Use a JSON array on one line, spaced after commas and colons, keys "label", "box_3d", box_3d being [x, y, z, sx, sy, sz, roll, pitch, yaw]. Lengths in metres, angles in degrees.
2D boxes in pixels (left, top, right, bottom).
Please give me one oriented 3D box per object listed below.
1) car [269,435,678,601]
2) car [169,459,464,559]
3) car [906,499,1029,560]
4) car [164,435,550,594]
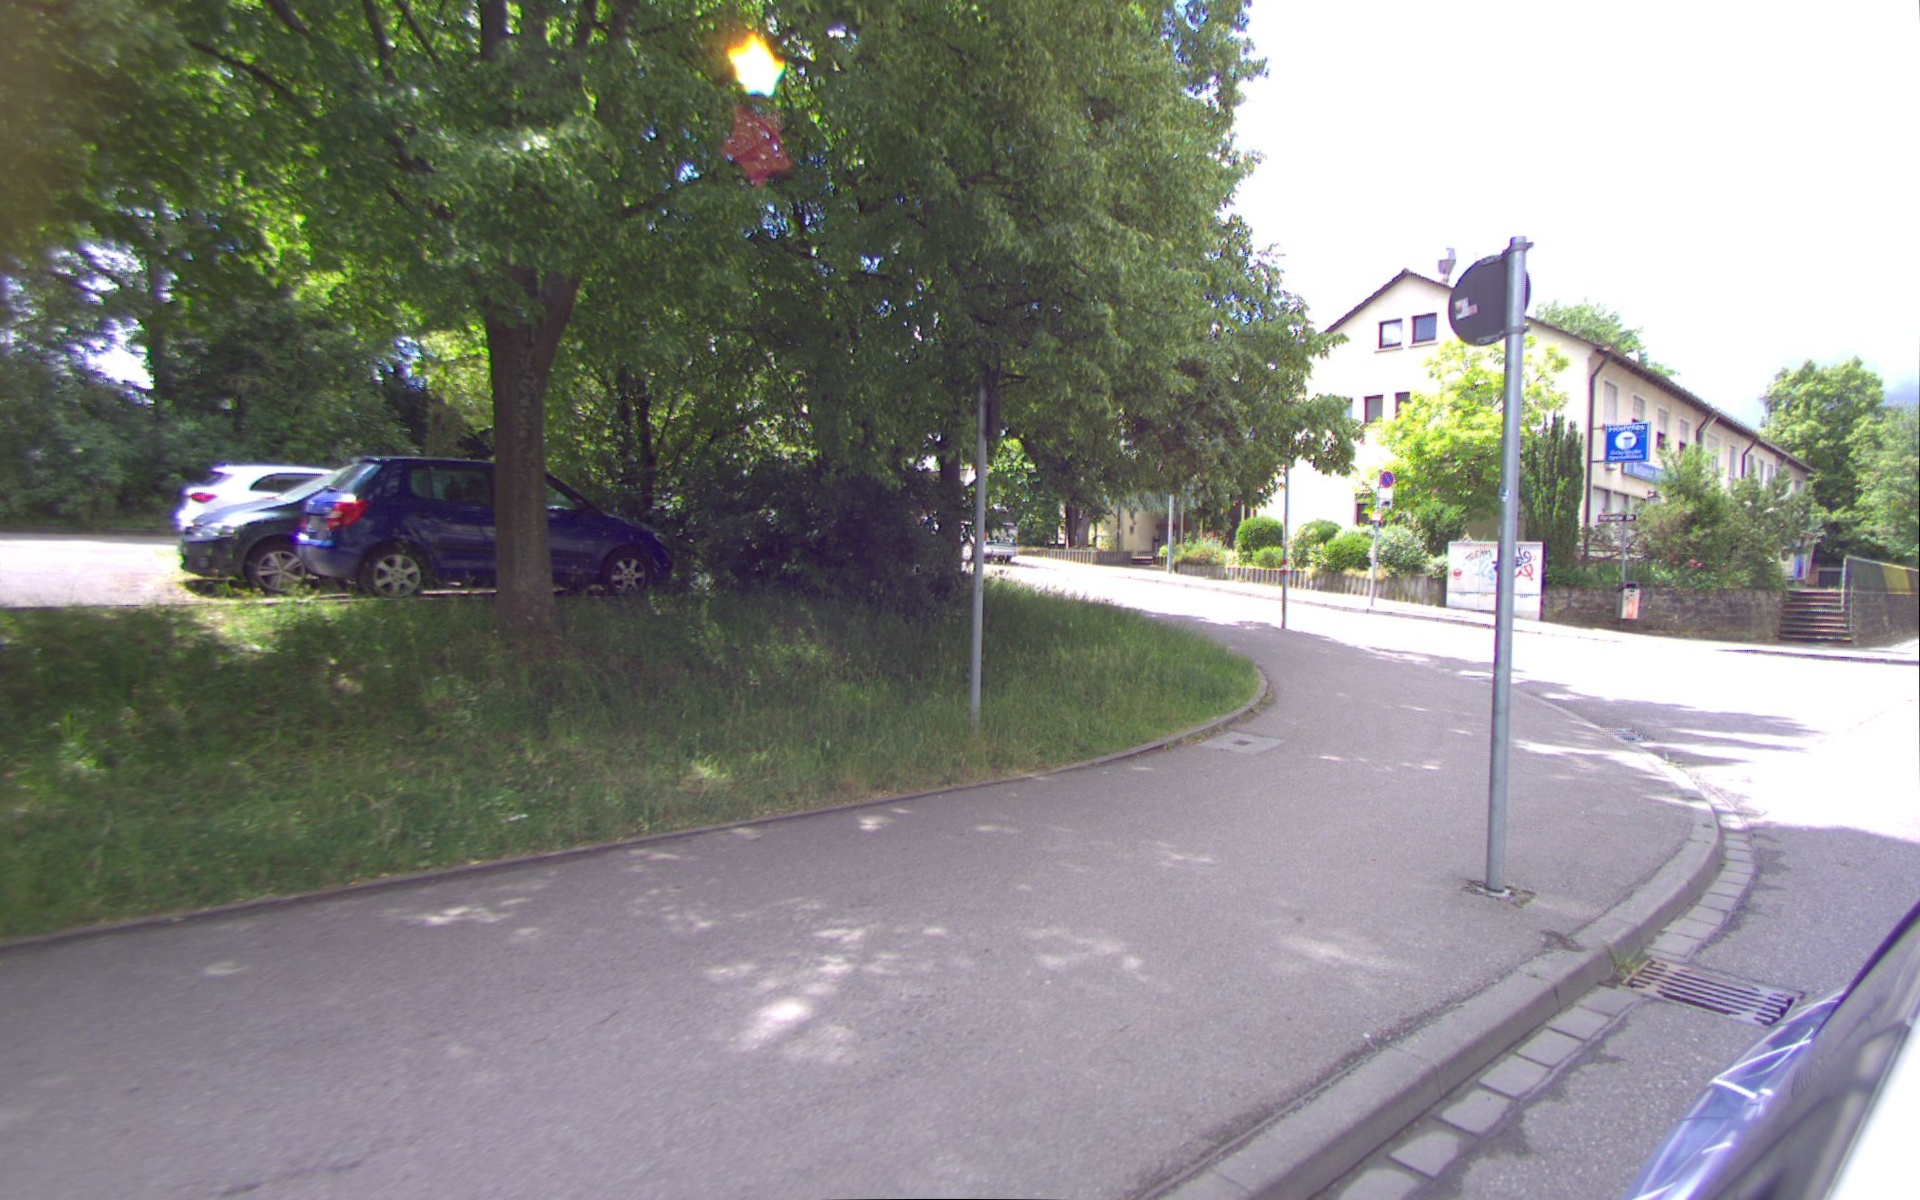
[{"label": "car", "box_3d": [-5.305, -0.871, 11.314, 3.751, 1.529, 1.826, -3, 5, -43]}, {"label": "car", "box_3d": [-10.428, -1.476, 16.557, 3.860, 1.436, 1.620, -3, 7, -41]}, {"label": "car", "box_3d": [0.178, -2.310, 32.679, 1.661, 1.737, 3.997, 0, 6, -41]}, {"label": "car", "box_3d": [-7.322, -1.037, 12.519, 3.842, 1.653, 1.681, -3, 7, -43]}]
